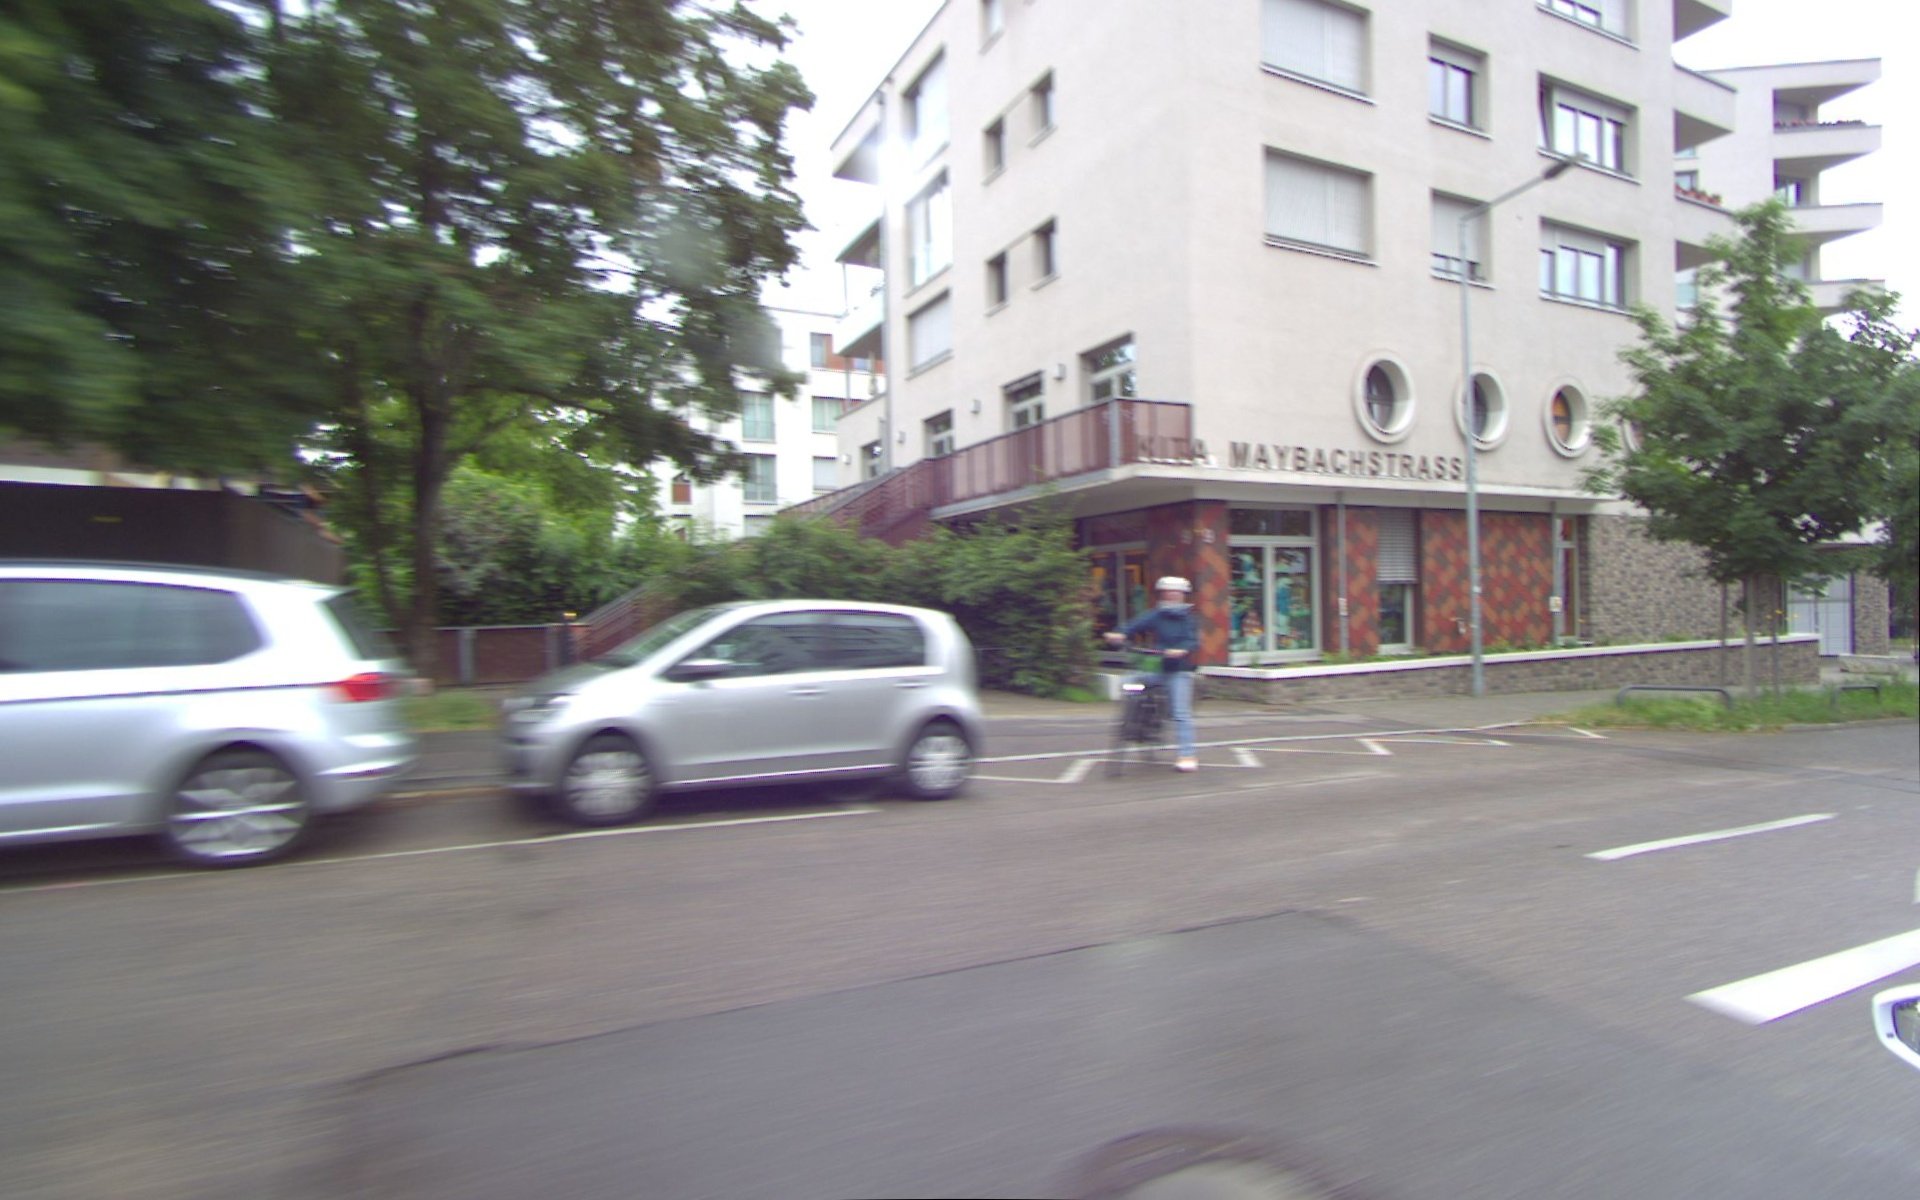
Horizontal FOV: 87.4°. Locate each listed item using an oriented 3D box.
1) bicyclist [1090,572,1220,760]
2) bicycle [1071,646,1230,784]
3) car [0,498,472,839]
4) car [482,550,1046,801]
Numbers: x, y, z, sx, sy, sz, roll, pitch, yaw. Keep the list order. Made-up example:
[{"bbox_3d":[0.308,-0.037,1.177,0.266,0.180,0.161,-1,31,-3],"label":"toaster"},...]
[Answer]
[{"bbox_3d":[1.790,0.560,9.087,0.789,1.543,1.200,3,0,27],"label":"bicyclist"},{"bbox_3d":[1.792,0.965,9.113,0.789,0.992,2.252,3,0,27],"label":"bicycle"},{"bbox_3d":[-5.210,0.292,5.492,4.436,1.614,1.981,3,0,-29],"label":"car"},{"bbox_3d":[-1.469,0.501,7.656,3.800,1.482,1.871,3,0,-29],"label":"car"}]
